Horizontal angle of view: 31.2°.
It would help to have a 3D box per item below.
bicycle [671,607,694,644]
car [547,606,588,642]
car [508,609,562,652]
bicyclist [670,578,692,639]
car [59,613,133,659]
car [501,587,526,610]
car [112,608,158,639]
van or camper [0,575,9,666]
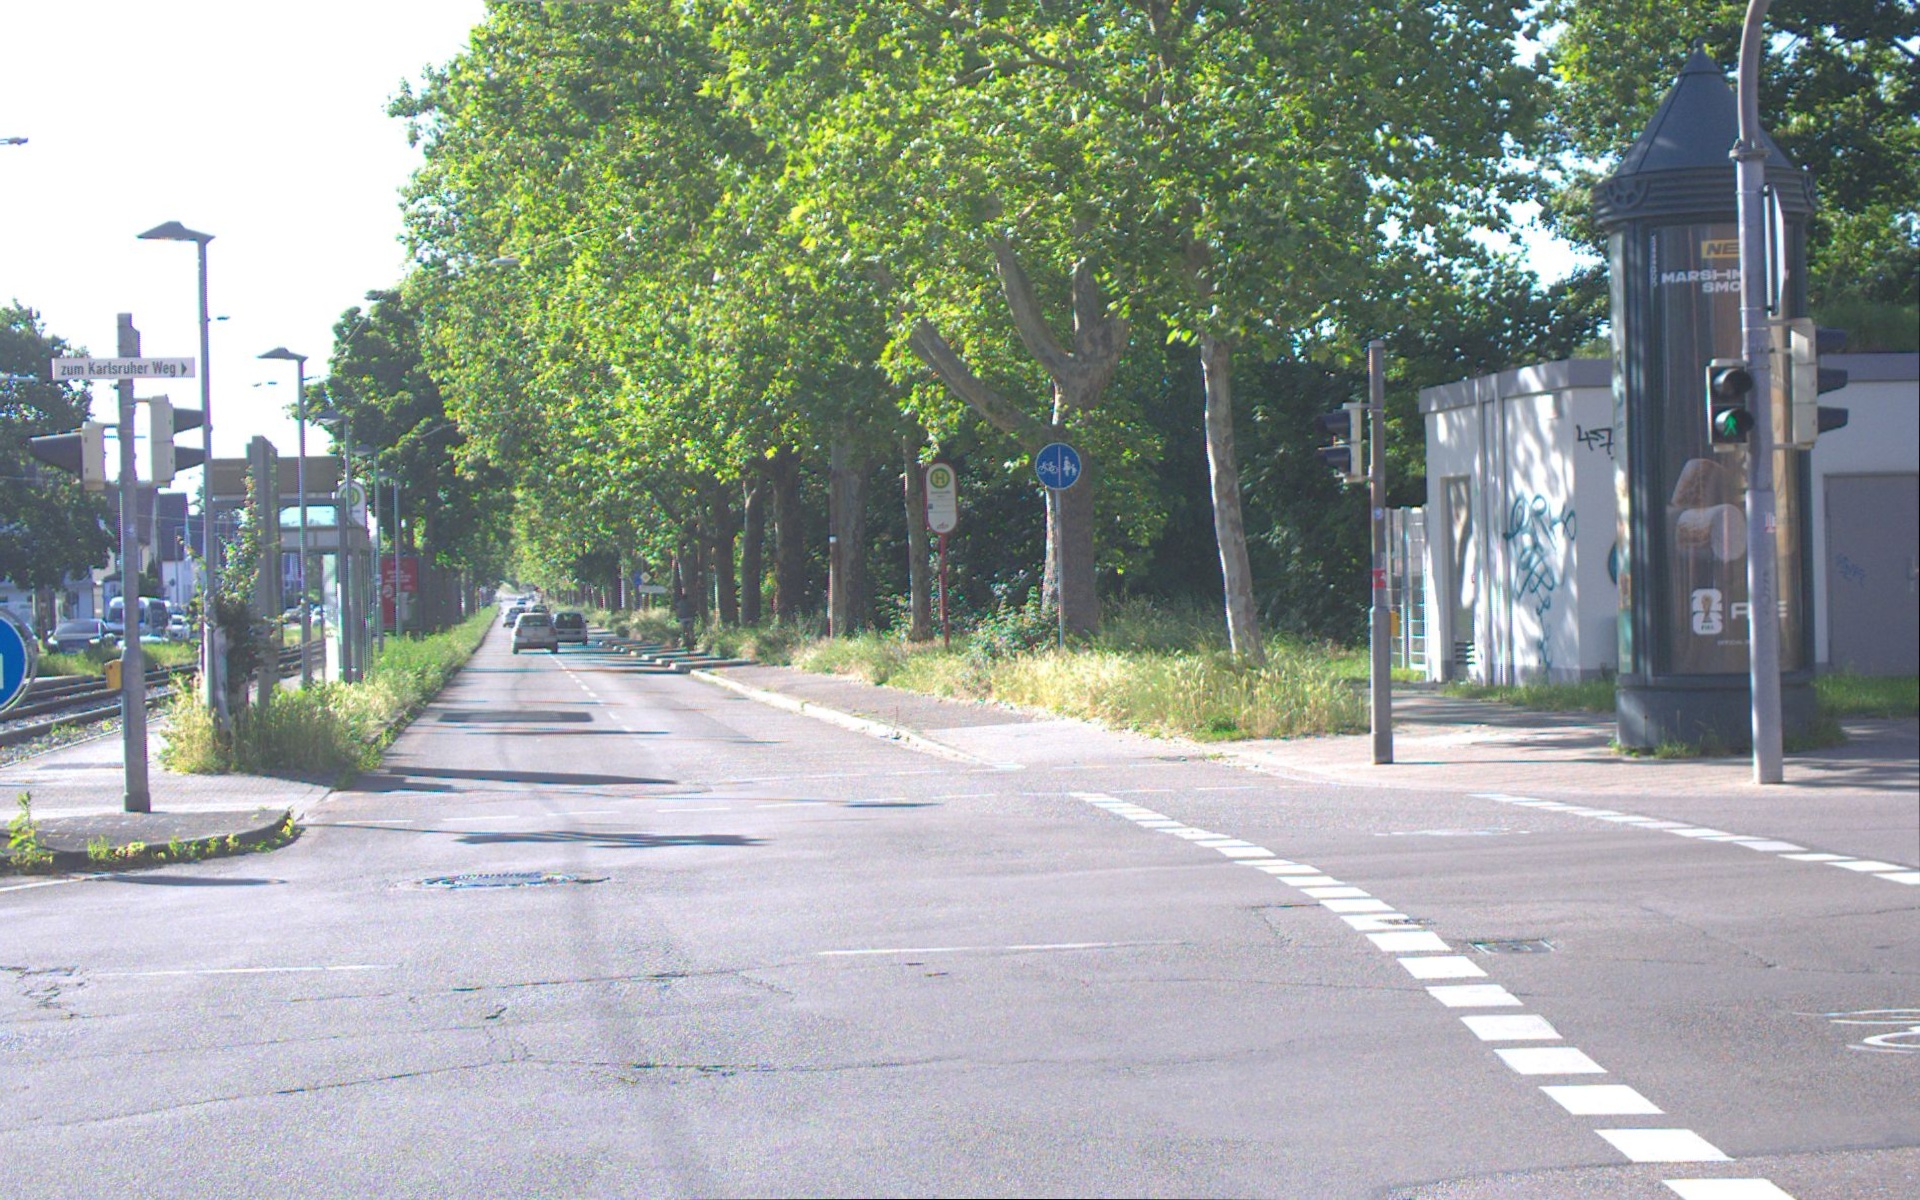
[{"bbox_3d":[-8.173,0.745,101.062,0.536,1.062,1.434,-2,0,-9],"label":"bicycle"},{"bbox_3d":[-17.673,1.069,154.716,1.750,1.599,3.751,0,0,-7],"label":"car"},{"bbox_3d":[-15.204,1.092,122.999,1.867,1.481,3.556,-1,0,-7],"label":"car"},{"bbox_3d":[-8.203,0.248,101.079,0.534,1.764,0.713,-2,0,-9],"label":"bicyclist"},{"bbox_3d":[-29.265,1.203,116.525,1.993,1.464,4.377,-1,0,-9],"label":"car"},{"bbox_3d":[-32.231,-0.086,248.072,1.750,1.599,3.581,-2,0,-8],"label":"car"},{"bbox_3d":[-41.182,1.149,171.585,1.744,1.491,3.592,-2,0,-6],"label":"car"},{"bbox_3d":[-33.930,0.725,115.891,2.589,3.095,6.789,-2,0,-7],"label":"van or camper"}]
